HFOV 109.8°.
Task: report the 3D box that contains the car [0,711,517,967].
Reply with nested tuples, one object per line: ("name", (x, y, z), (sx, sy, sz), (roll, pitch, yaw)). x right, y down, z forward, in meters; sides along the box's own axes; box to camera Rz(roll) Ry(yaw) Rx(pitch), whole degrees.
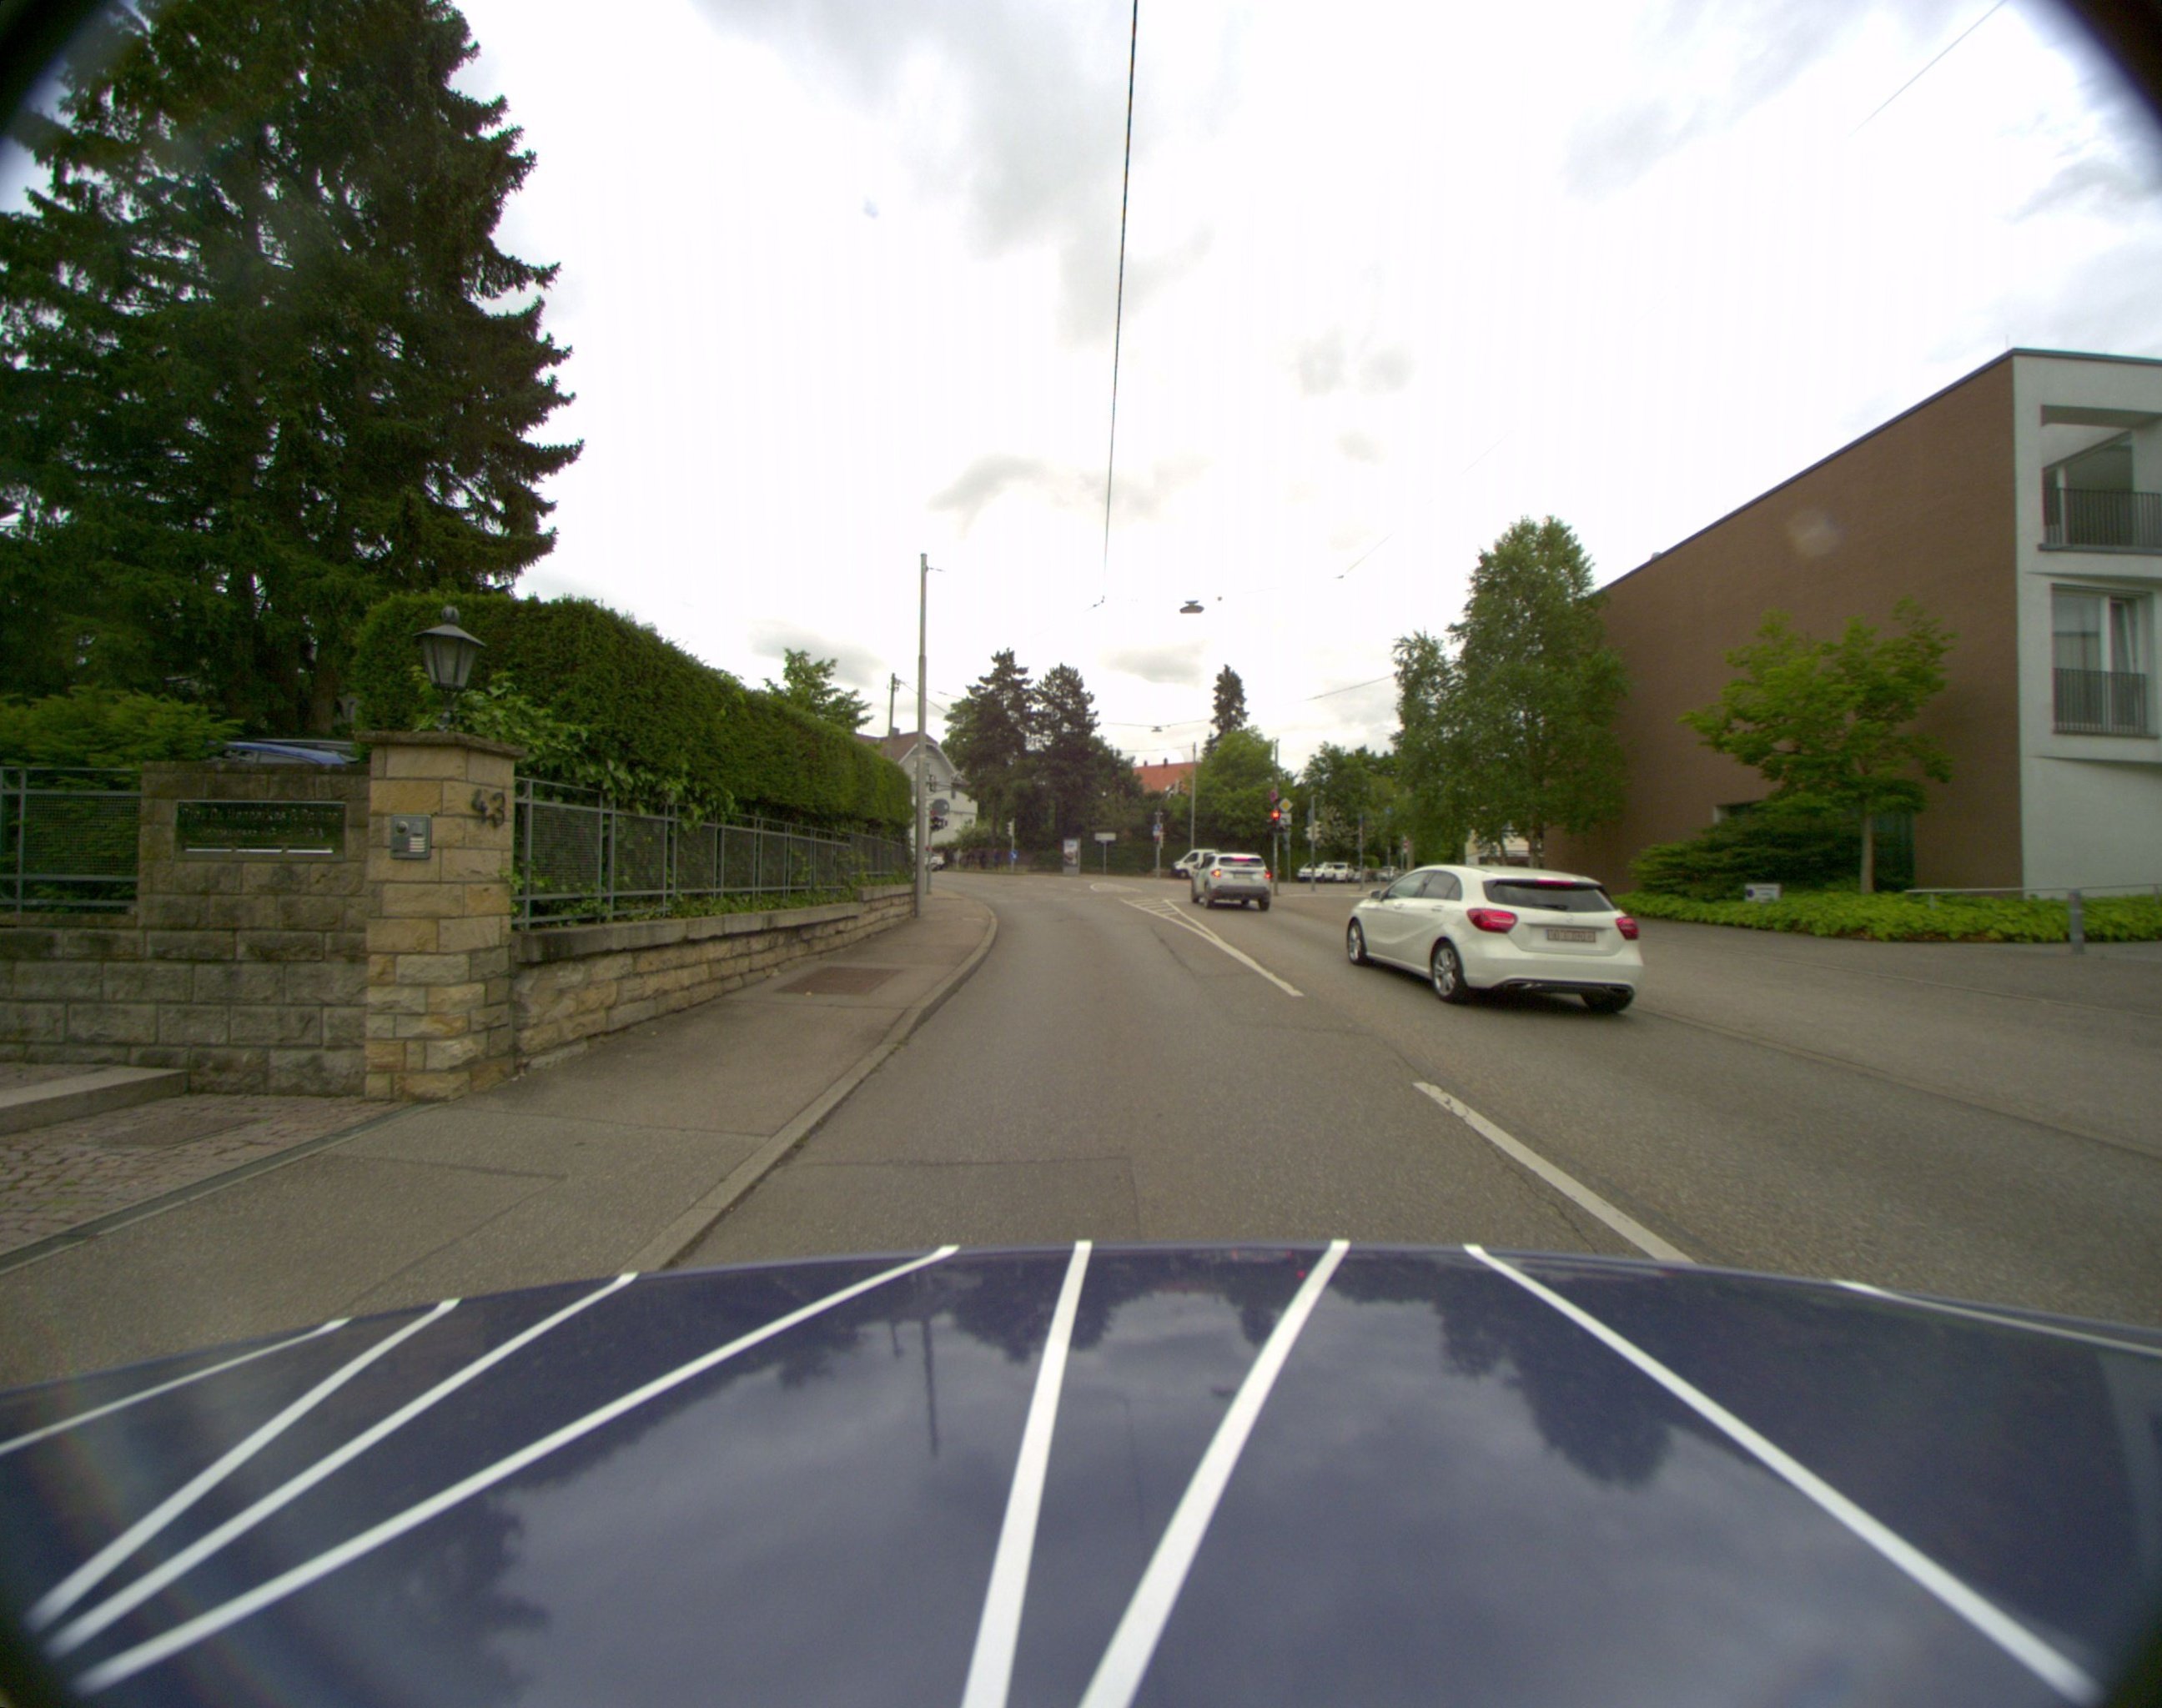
("car", (-8.062, -0.209, 7.036), (3.997, 1.603, 2.000), (9, 0, 0))

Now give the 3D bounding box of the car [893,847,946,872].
("car", (-10.966, 0.333, 51.353), (1.622, 1.571, 3.989), (-1, 2, -44))

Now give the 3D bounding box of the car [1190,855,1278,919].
("car", (4.436, 0.885, 22.687), (1.773, 1.628, 4.302), (3, 0, 1))

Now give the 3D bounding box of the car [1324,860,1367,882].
("car", (21.215, 1.377, 60.889), (1.994, 1.603, 4.009), (2, 0, 39))

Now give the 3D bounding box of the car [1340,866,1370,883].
("car", (23.914, 1.750, 66.201), (1.867, 1.445, 3.738), (0, 0, 30))

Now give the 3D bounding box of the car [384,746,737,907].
("car", (-7.451, -0.369, 11.185), (3.749, 1.603, 1.814), (9, 0, 0))

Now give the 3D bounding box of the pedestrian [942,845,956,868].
("pedestrian", (-10.674, 0.183, 61.345), (0.686, 1.803, 0.882), (2, 0, 29))

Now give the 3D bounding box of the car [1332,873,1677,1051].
("car", (4.479, 1.022, 8.878), (1.770, 1.413, 4.065), (2, 0, 1))

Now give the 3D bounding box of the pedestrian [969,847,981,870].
("pedestrian", (-8.411, 0.341, 60.408), (0.665, 1.777, 0.614), (2, 0, 25))

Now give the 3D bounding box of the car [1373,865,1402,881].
("car", (31.865, 2.003, 78.929), (1.867, 1.577, 3.739), (1, 0, 36))

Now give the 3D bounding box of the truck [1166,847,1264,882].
("truck", (9.594, 0.721, 54.371), (6.706, 2.176, 2.532), (2, 1, 12))

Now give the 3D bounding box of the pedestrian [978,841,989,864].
("pedestrian", (-7.889, -0.097, 61.355), (0.611, 1.824, 0.605), (2, 0, 28))

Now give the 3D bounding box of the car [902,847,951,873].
("car", (-12.073, 0.468, 59.295), (3.742, 1.432, 1.705), (11, 6, 40))

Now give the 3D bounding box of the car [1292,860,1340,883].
("car", (17.520, 1.280, 56.644), (1.994, 1.603, 4.009), (2, 0, 39))

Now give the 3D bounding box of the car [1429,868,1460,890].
("car", (26.005, 1.785, 54.360), (1.876, 1.440, 4.008), (2, 0, 26))
